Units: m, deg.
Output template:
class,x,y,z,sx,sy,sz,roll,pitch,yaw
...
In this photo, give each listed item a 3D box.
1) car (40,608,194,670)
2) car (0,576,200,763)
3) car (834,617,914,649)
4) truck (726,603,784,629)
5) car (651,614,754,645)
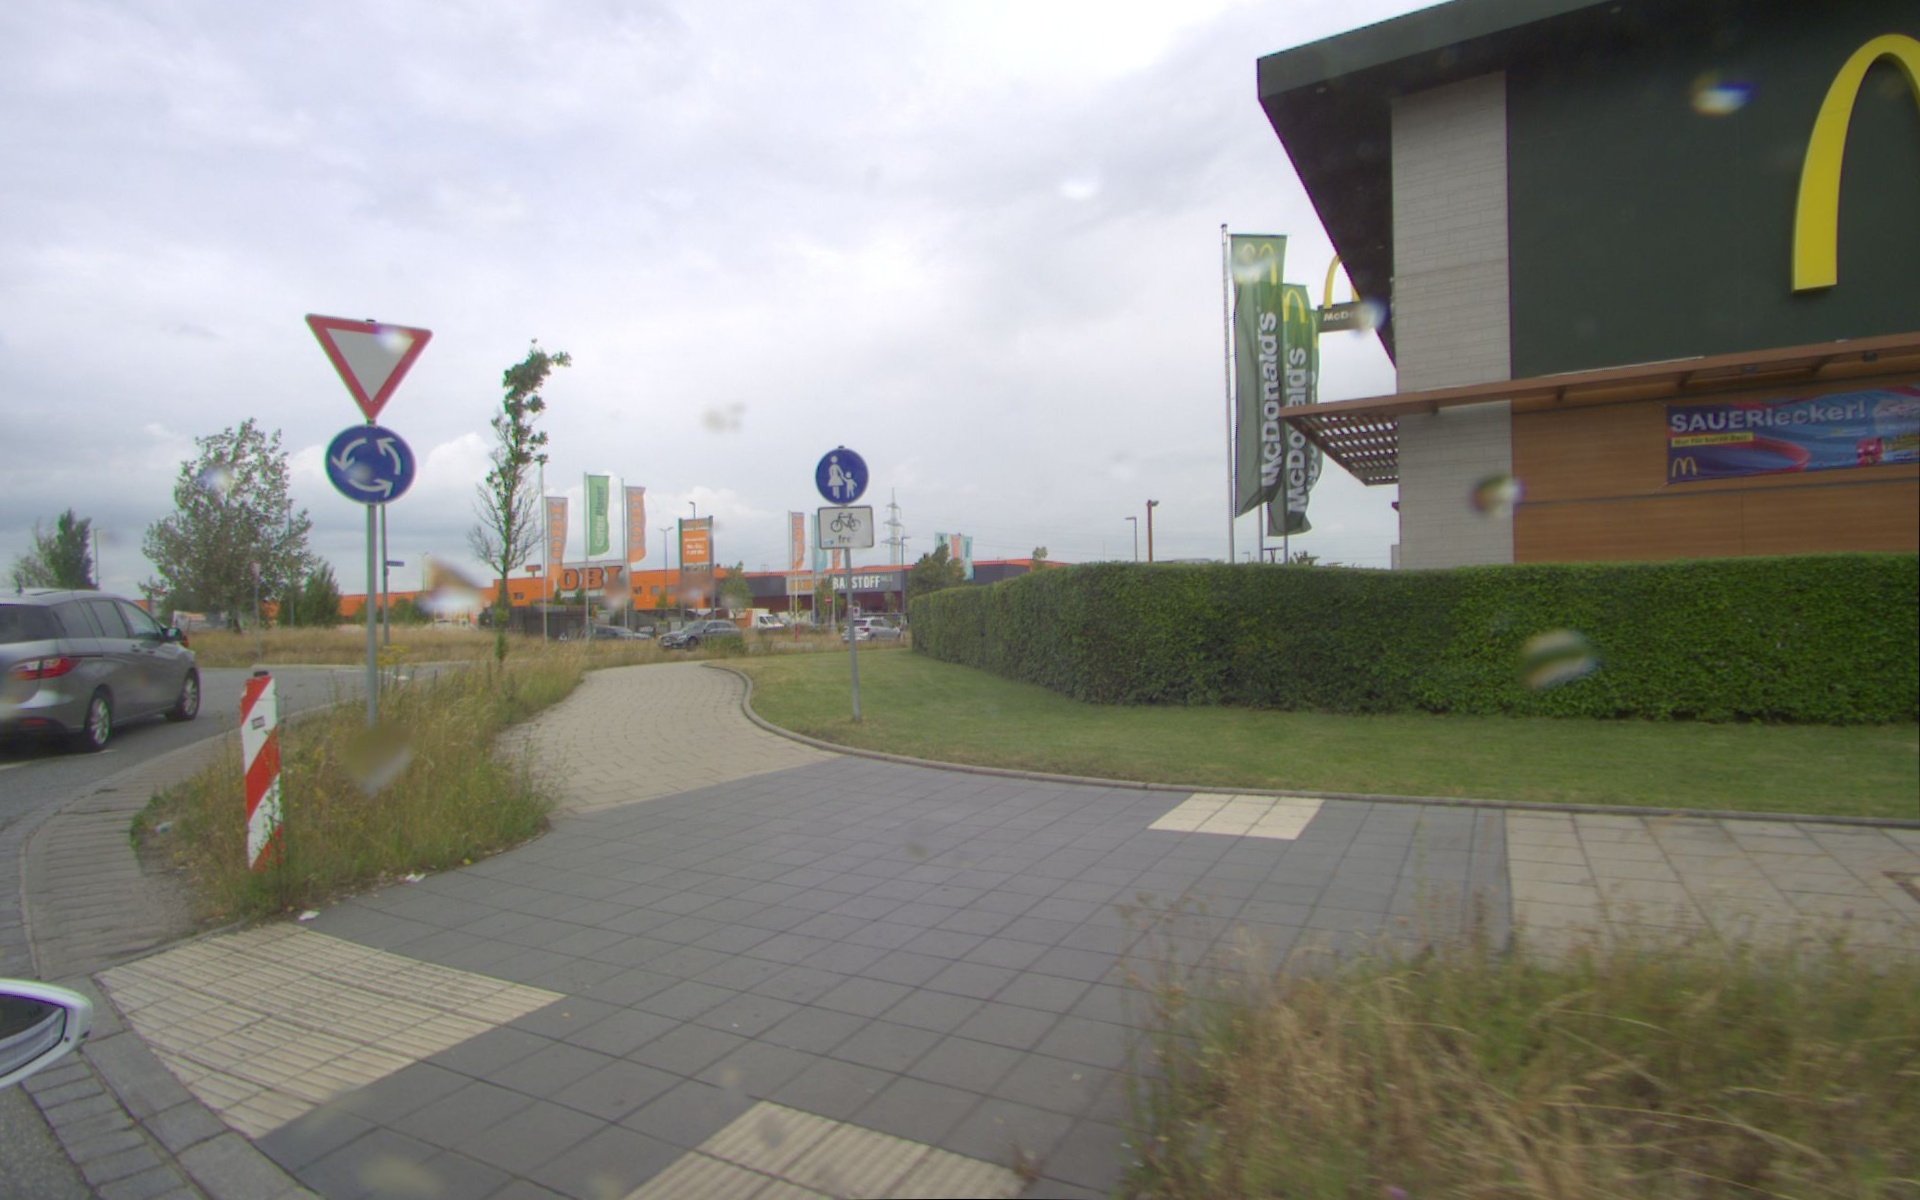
class,x,y,z,sx,sy,sz,roll,pitch,yaw
car,-21.718,0.950,25.776,3.935,1.422,1.736,1,0,28
car,-9.665,0.588,10.566,1.716,1.620,3.981,2,1,-24
car,-4.288,1.652,50.550,1.790,1.483,3.973,2,0,38
truck,-21.191,1.676,103.571,5.457,2.514,2.435,-2,-3,22
car,-12.288,1.444,48.024,1.903,1.421,4.661,-1,-2,35
